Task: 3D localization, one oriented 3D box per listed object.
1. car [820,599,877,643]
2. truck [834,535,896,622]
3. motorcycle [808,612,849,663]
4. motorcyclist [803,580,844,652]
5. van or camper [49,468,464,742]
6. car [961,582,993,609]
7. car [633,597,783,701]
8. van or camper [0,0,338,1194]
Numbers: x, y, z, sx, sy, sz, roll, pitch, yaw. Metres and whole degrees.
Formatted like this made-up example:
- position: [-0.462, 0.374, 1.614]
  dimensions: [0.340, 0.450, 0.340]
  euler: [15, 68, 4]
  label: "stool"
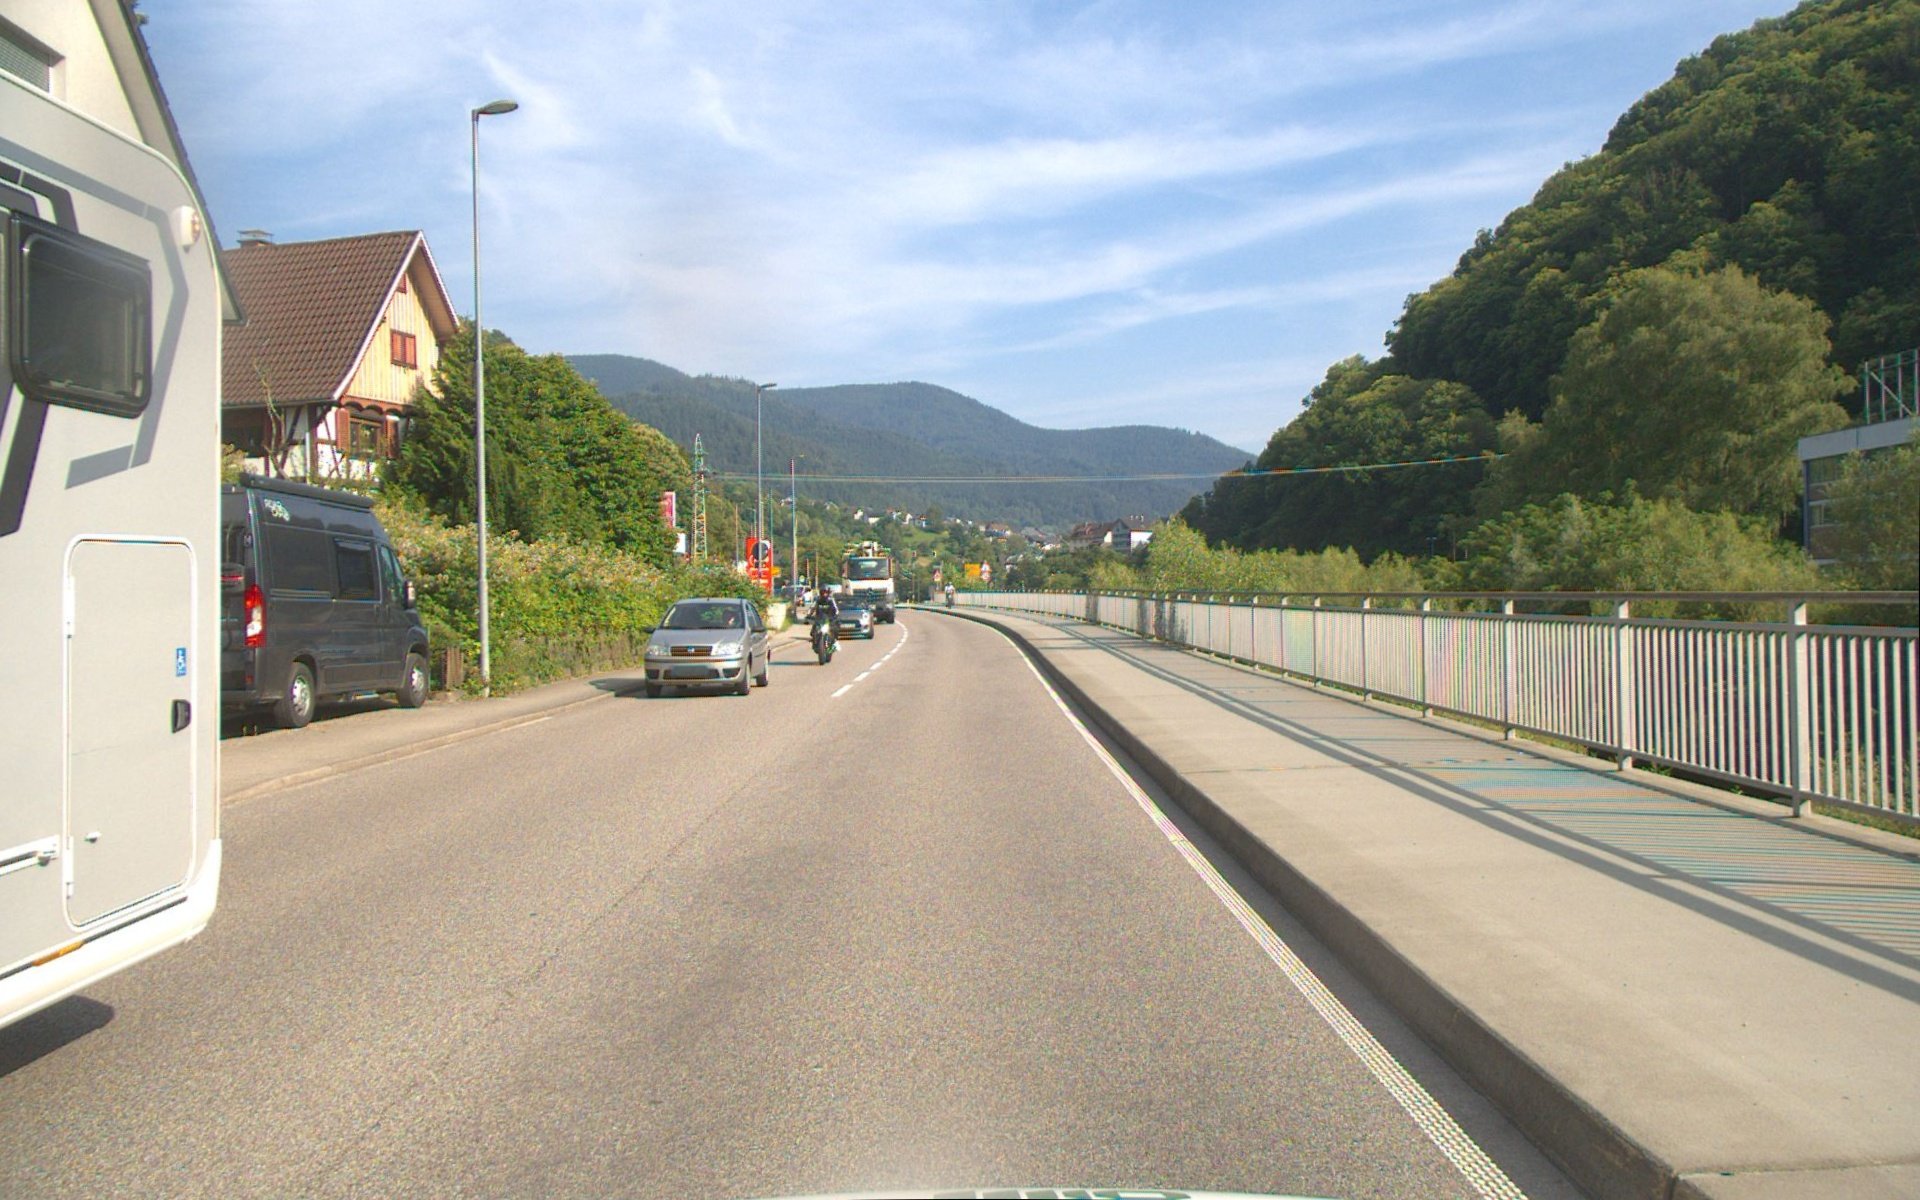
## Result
- position: [-3.820, 0.709, 57.060]
  dimensions: [1.678, 1.427, 4.000]
  euler: [-1, 0, 0]
  label: "car"
- position: [-4.856, -1.023, 82.912]
  dimensions: [2.528, 4.000, 11.291]
  euler: [-2, 0, -6]
  label: "truck"
- position: [-2.944, 0.826, 37.221]
  dimensions: [0.640, 1.086, 2.183]
  euler: [-1, 0, 2]
  label: "motorcycle"
- position: [-3.069, 0.367, 37.140]
  dimensions: [0.808, 1.585, 0.628]
  euler: [-1, -1, 3]
  label: "motorcyclist"
- position: [-7.636, 0.040, 18.820]
  dimensions: [2.104, 2.600, 5.902]
  euler: [-1, 0, 1]
  label: "van or camper"
- position: [1.127, -0.328, 112.075]
  dimensions: [1.716, 1.528, 4.189]
  euler: [-10, 1, -2]
  label: "car"
- position: [-3.901, 0.713, 26.186]
  dimensions: [1.596, 1.511, 4.001]
  euler: [-1, 0, 2]
  label: "car"
- position: [-3.399, -0.054, 2.534]
  dimensions: [2.150, 2.990, 7.127]
  euler: [0, 0, 0]
  label: "van or camper"
